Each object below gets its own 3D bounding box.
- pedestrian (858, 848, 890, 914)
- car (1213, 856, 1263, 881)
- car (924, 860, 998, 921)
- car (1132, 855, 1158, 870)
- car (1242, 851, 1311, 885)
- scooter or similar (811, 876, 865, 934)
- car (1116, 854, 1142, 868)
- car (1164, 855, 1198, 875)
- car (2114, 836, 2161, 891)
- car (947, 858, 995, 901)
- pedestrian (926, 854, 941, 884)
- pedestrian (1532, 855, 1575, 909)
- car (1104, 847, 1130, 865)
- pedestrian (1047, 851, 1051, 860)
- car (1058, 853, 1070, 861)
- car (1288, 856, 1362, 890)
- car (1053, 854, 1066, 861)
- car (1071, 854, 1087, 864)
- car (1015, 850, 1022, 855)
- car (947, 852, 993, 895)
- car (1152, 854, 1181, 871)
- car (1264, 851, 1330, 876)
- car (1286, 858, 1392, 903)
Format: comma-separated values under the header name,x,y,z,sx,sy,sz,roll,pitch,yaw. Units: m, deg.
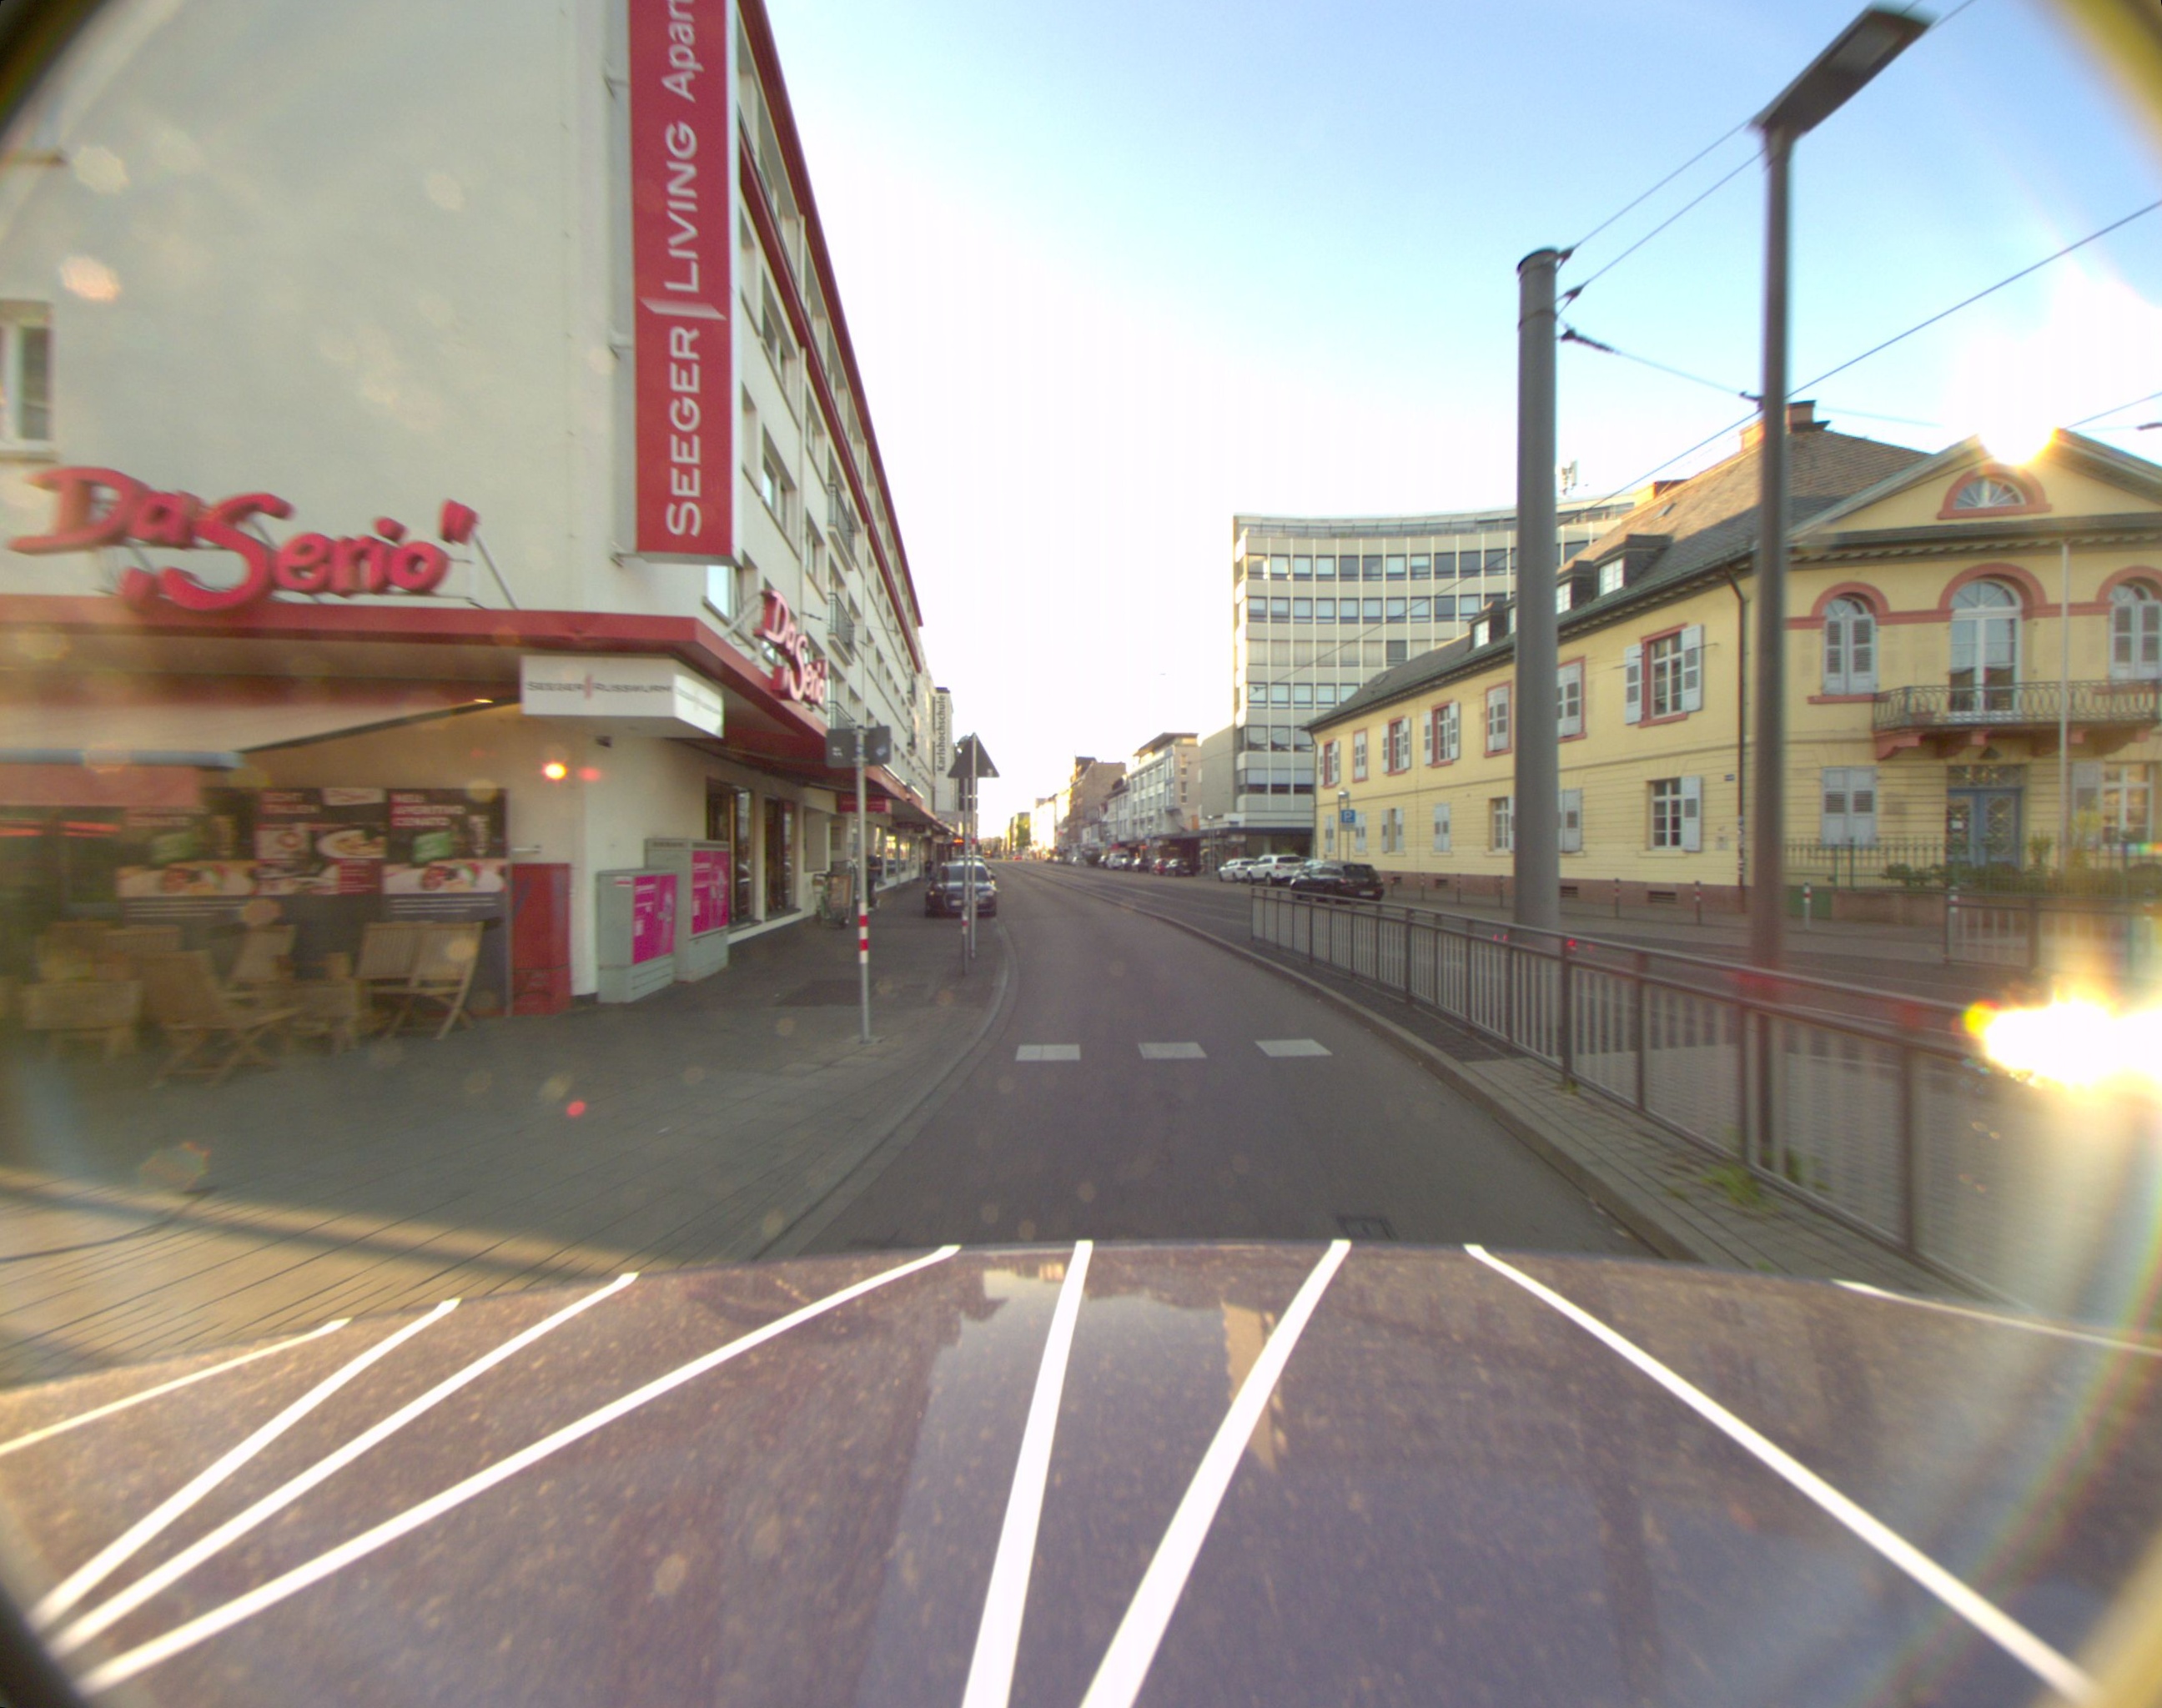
name,x,y,z,sx,sy,sz,roll,pitch,yaw
pedestrian,-5.941,0.755,21.858,0.777,1.869,0.934,0,1,-9
car,9.826,0.859,47.788,1.726,1.444,4.280,-2,0,-8
car,-3.347,0.941,21.548,1.795,1.405,4.683,-2,1,-8
car,6.395,0.827,76.004,1.796,1.452,4.088,0,0,-7
car,10.590,0.715,41.541,1.893,1.651,4.757,-2,1,-9
scooter or similar,-5.305,1.095,16.562,1.434,1.187,0.336,1,0,36
car,5.211,0.716,82.730,1.878,1.418,4.567,-2,1,-7
car,8.042,0.861,61.319,1.697,1.417,3.962,-2,0,-8
car,38.997,0.322,26.492,1.995,1.875,4.007,-1,1,28
car,-4.205,0.916,29.338,1.656,1.412,4.187,-2,1,-7
pedestrian,-7.789,0.771,40.106,0.735,1.564,0.966,0,1,-8
pedestrian,13.648,0.805,21.961,0.722,1.527,0.718,0,1,-12
car,4.223,0.252,90.130,1.970,2.002,5.095,-2,1,-9
pedestrian,-7.628,0.353,181.694,0.748,2.002,1.048,-2,2,-3
car,-3.258,0.574,144.719,1.847,1.484,3.813,-2,1,-7
car,11.566,0.859,36.300,1.754,1.465,3.997,-2,0,-8
car,-4.389,0.669,157.092,2.000,1.412,4.399,-2,1,-10
car,-0.347,0.760,124.571,1.897,1.547,4.619,-2,1,-7
car,-21.385,-0.423,258.671,2.000,1.554,3.996,-2,1,-8
car,-4.989,0.817,34.312,1.862,1.691,4.414,-2,1,-8
car,7.457,0.698,66.794,1.697,1.426,3.589,-1,0,-8
car,15.197,0.663,53.474,4.000,1.544,1.912,-2,1,-10
car,8.928,0.856,26.668,1.773,1.368,4.219,0,1,-9
